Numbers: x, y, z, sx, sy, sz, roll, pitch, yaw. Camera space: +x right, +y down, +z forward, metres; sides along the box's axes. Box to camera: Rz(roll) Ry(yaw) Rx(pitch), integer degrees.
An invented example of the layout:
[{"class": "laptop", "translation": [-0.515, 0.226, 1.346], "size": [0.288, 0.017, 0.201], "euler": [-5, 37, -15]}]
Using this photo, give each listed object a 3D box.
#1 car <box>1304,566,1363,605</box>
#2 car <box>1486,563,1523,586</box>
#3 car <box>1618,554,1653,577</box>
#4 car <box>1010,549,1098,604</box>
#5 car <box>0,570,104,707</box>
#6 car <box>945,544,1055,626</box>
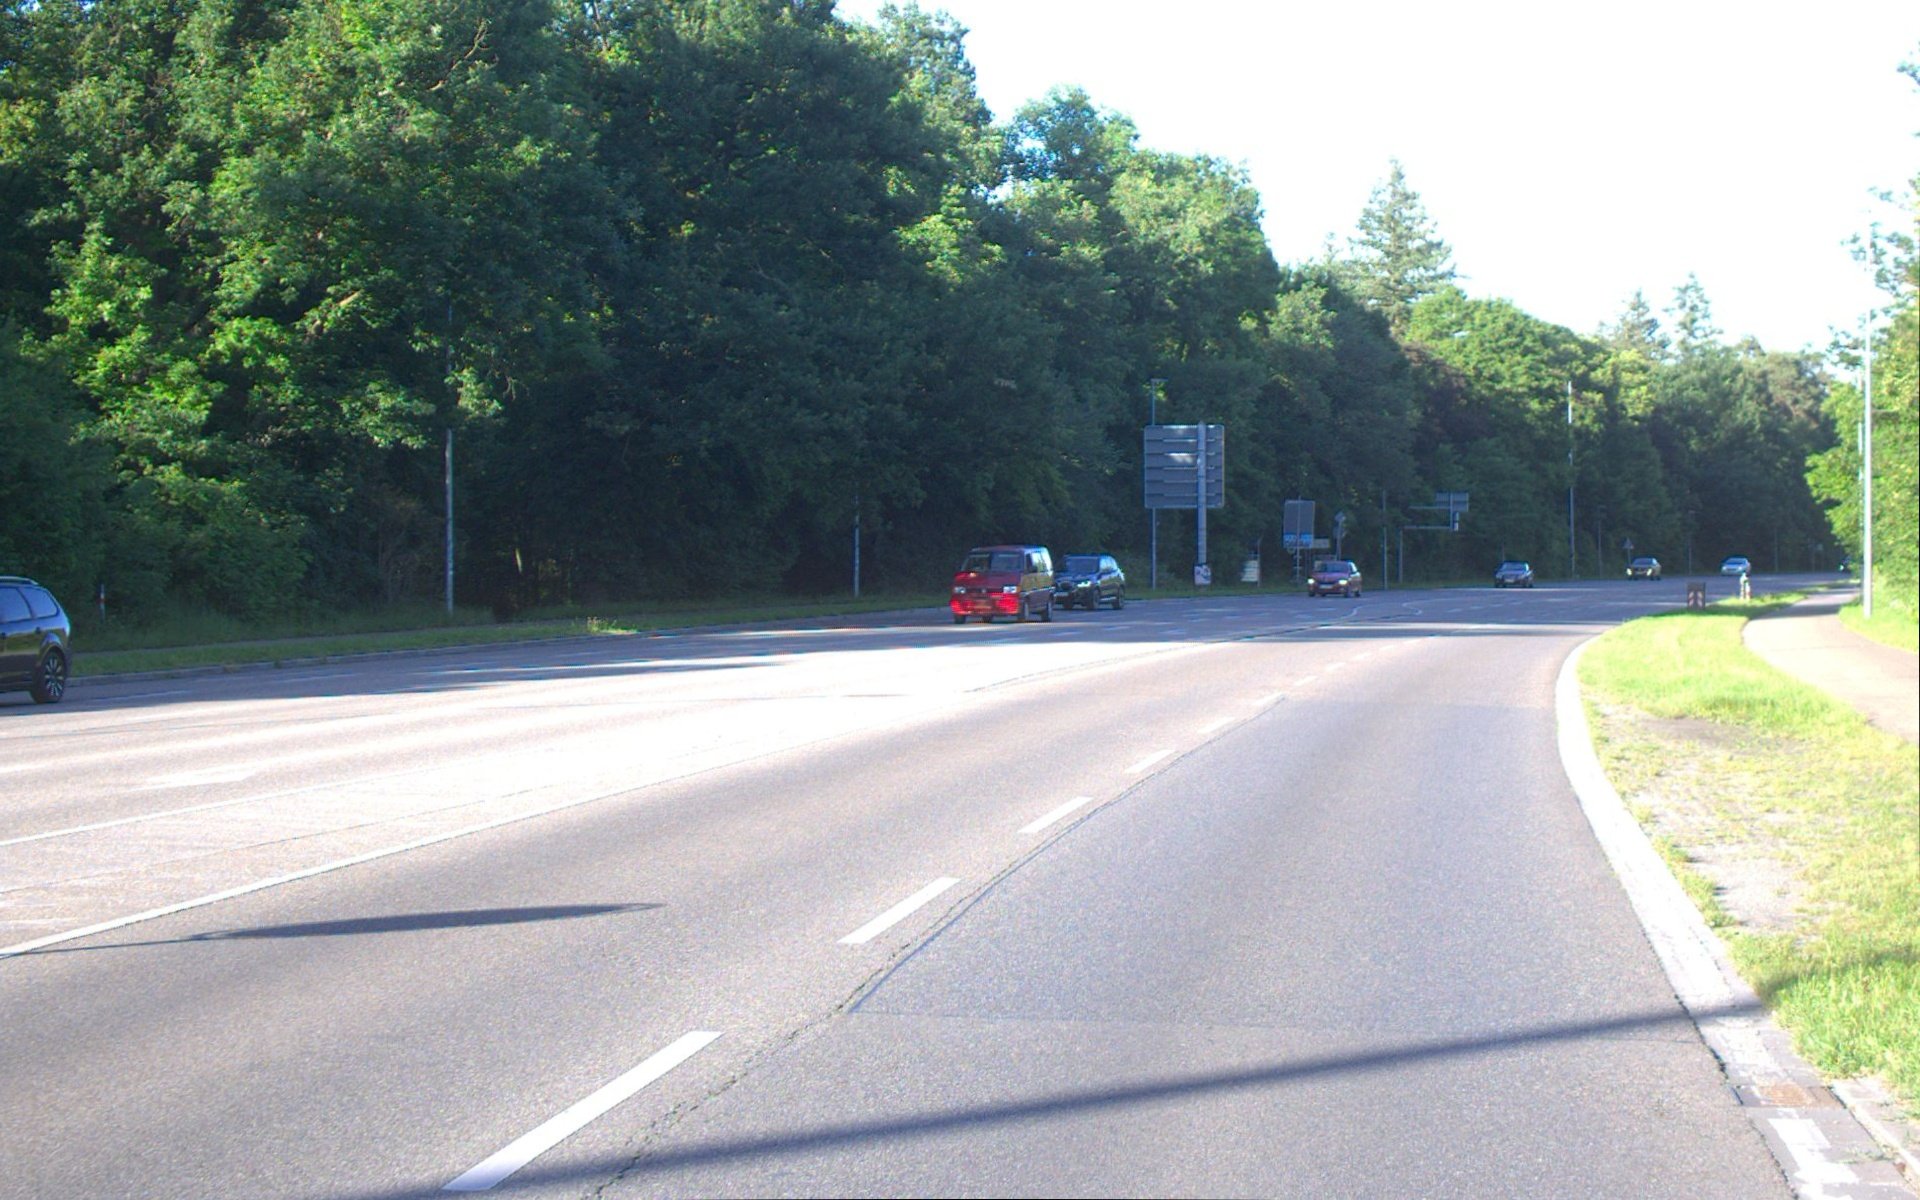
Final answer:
[{"class": "car", "translation": [15.307, -0.606, 140.668], "size": [1.994, 1.559, 4.336], "euler": [0, 1, 12]}, {"class": "car", "translation": [29.501, -1.400, 186.243], "size": [1.745, 1.230, 4.671], "euler": [0, 1, 12]}, {"class": "car", "translation": [46.270, -2.398, 235.441], "size": [1.826, 1.539, 4.252], "euler": [1, 1, 19]}, {"class": "car", "translation": [2.917, -0.733, 105.605], "size": [1.994, 1.631, 4.842], "euler": [0, 1, 10]}, {"class": "car", "translation": [-11.826, 0.448, 39.750], "size": [1.994, 1.559, 4.646], "euler": [-1, 0, 10]}, {"class": "car", "translation": [1.028, -0.374, 85.938], "size": [1.994, 1.955, 4.646], "euler": [-1, 0, 10]}]
